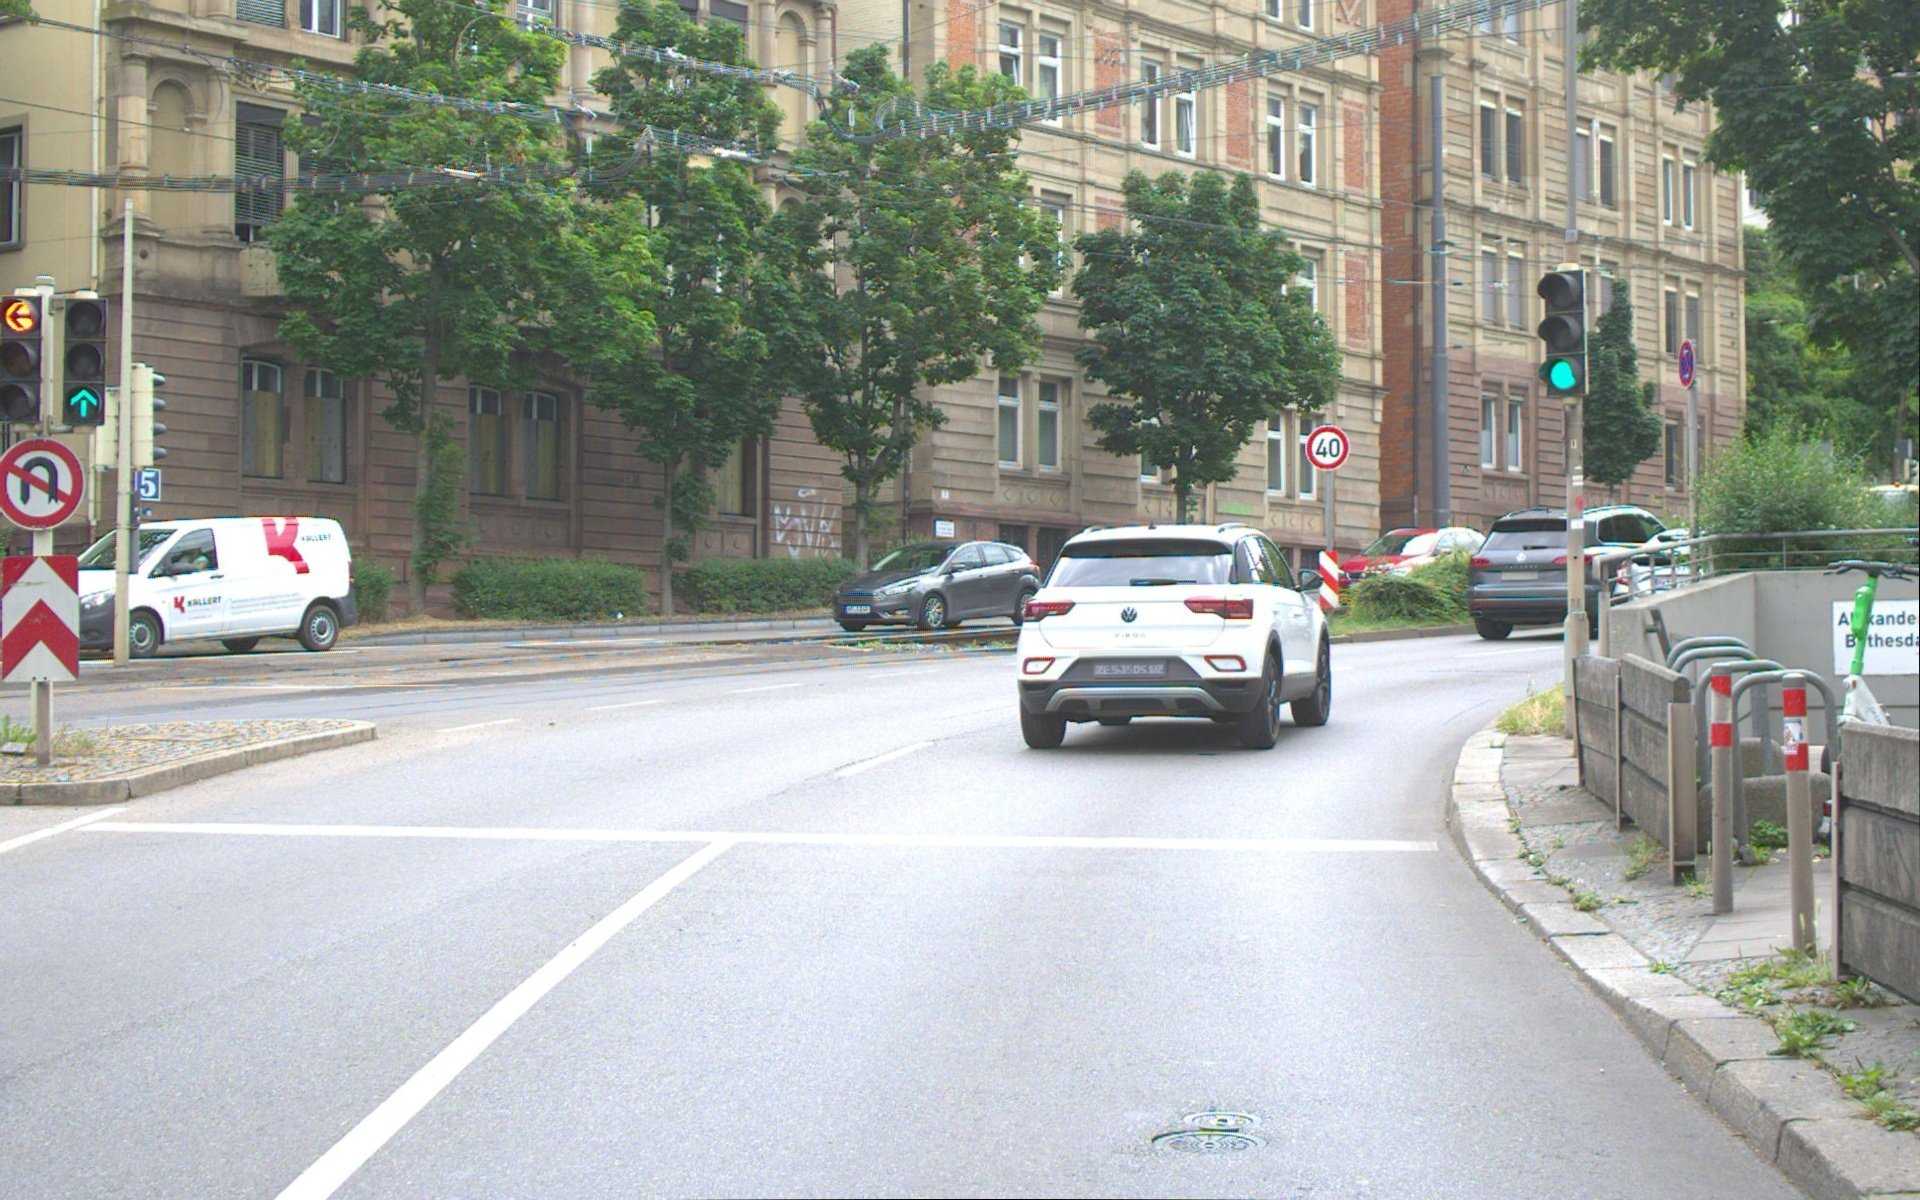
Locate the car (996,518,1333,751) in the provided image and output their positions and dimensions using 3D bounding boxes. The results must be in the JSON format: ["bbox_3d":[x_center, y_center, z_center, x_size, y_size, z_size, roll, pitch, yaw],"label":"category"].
[{"bbox_3d":[1.585,0.212,25.164,1.939,1.561,4.044,0,0,11],"label":"car"}]

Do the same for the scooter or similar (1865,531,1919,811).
[{"bbox_3d":[4.901,0.296,15.812,1.441,1.250,0.557,-2,2,-30],"label":"scooter or similar"}]

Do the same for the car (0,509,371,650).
[{"bbox_3d":[-10.700,-0.290,47.477,1.998,1.843,4.982,0,1,39],"label":"car"}]

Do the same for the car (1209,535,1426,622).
[{"bbox_3d":[6.493,-0.368,62.074,1.997,1.514,4.397,0,0,36],"label":"car"}]

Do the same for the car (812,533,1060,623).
[{"bbox_3d":[-0.348,-0.381,56.703,1.746,1.422,4.396,0,1,38],"label":"car"}]

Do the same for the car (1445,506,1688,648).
[{"bbox_3d":[7.984,-0.274,44.989,1.842,1.734,3.993,1,0,30],"label":"car"}]

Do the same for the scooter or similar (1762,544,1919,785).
[{"bbox_3d":[4.817,0.306,17.457,1.441,1.178,0.583,-1,1,-30],"label":"scooter or similar"}]

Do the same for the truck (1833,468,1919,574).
[{"bbox_3d":[27.865,-2.111,97.685,2.925,2.500,7.137,14,8,37],"label":"truck"}]

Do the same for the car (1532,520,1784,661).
[{"bbox_3d":[8.411,-0.100,41.212,1.906,1.568,3.828,2,0,28],"label":"car"}]

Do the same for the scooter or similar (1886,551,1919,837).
[{"bbox_3d":[4.387,0.382,14.406,1.007,1.178,0.376,-1,1,-30],"label":"scooter or similar"}]
